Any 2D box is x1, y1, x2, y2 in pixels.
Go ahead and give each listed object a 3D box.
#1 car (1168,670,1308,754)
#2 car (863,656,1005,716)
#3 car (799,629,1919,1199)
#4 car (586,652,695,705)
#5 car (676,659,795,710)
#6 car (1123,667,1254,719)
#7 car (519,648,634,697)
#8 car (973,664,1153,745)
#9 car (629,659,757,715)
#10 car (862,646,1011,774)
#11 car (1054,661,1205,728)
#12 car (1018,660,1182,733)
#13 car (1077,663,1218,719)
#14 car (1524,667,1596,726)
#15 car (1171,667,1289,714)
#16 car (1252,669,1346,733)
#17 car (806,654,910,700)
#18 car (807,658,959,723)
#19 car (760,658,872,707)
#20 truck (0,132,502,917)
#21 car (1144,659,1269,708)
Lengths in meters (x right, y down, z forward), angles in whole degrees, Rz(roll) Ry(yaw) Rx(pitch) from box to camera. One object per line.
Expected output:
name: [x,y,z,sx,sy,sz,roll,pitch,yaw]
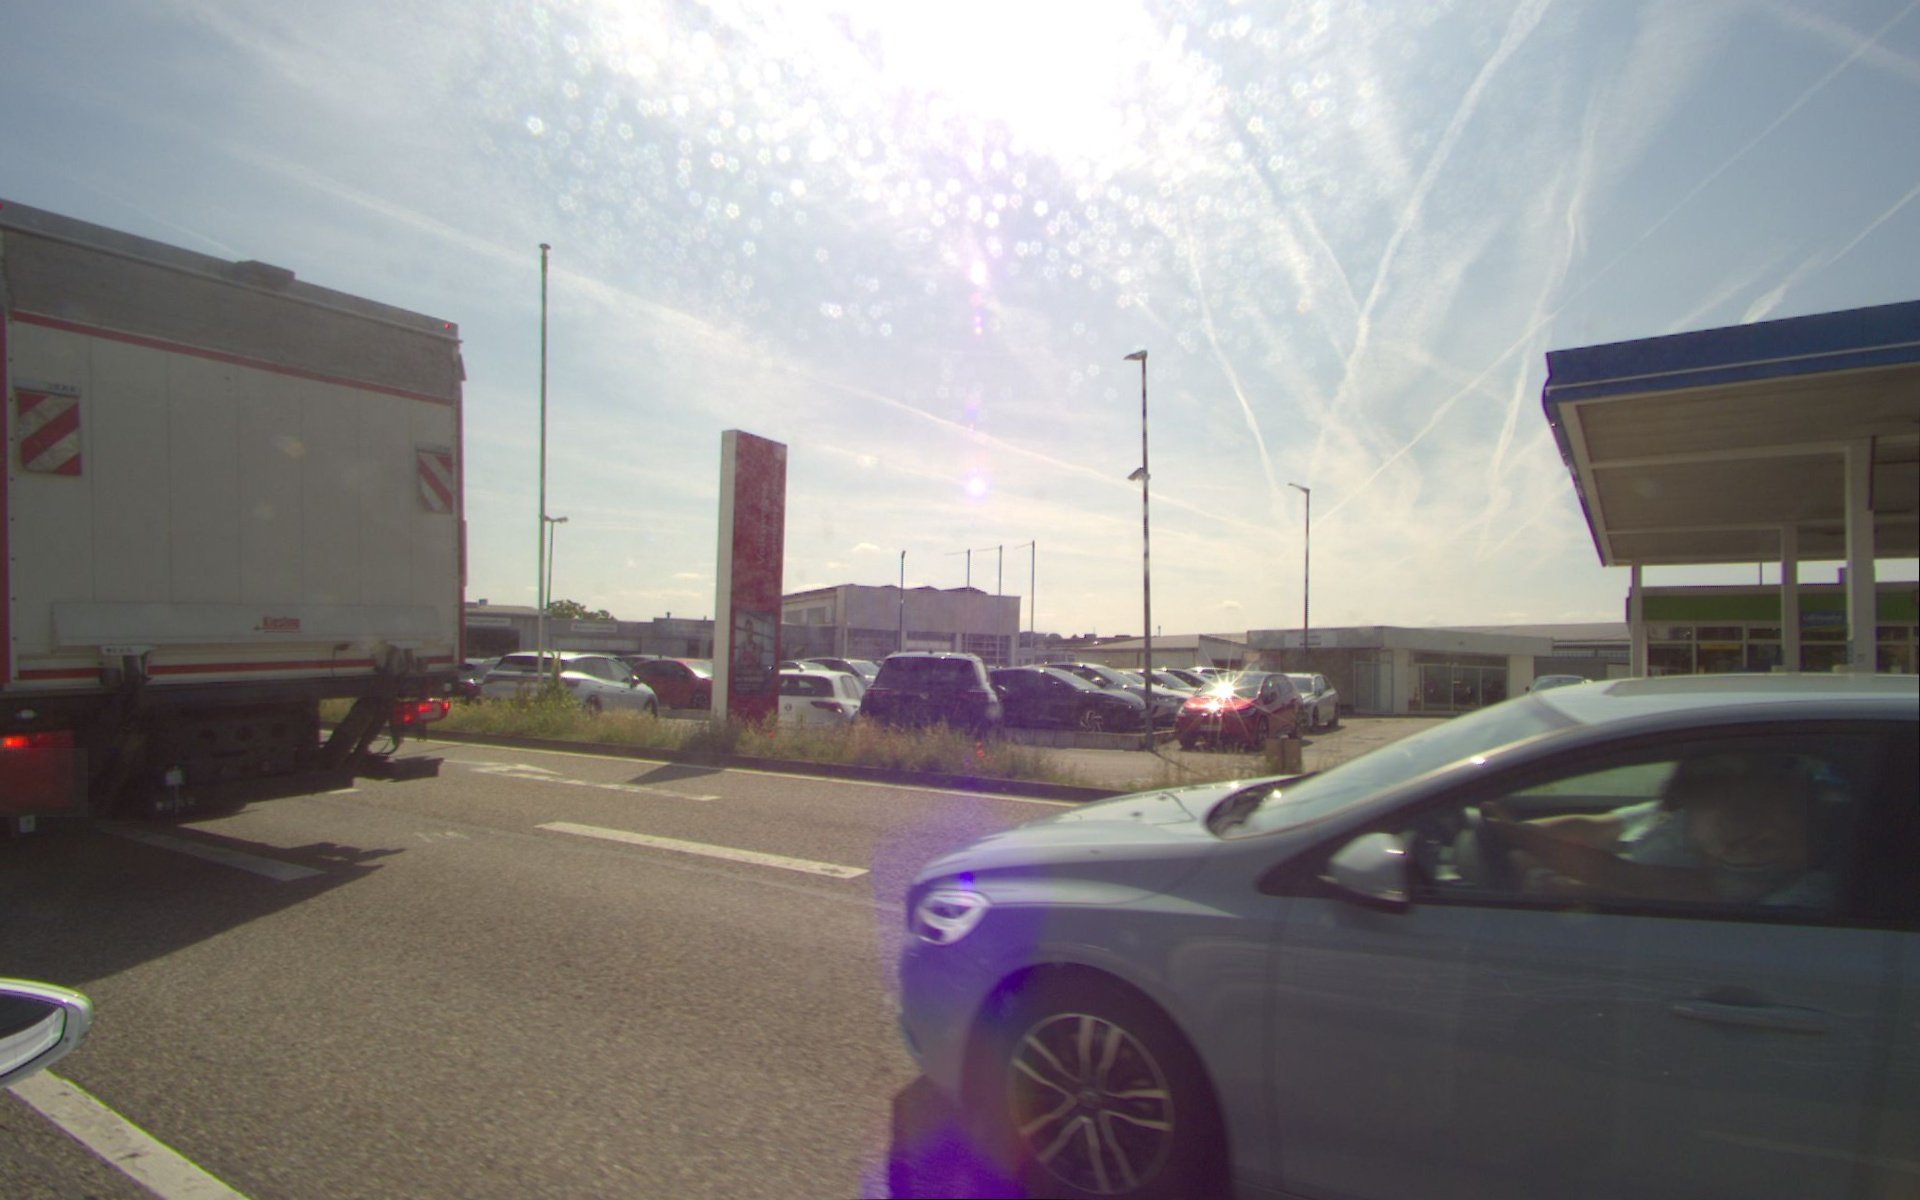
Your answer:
car: [6.143,2.348,21.836,1.782,1.591,3.896,-1,-3,34]
car: [-0.718,2.269,26.985,3.543,1.445,1.556,-1,-2,31]
car: [1.768,0.839,2.643,4.162,1.446,1.734,-1,-3,30]
car: [-10.809,2.619,33.852,3.542,1.628,1.556,-1,-2,30]
car: [-7.062,2.616,31.454,3.542,1.427,1.556,-1,-2,30]
car: [7.311,2.929,32.134,3.803,1.461,1.706,-1,-2,30]
car: [-12.131,2.252,31.636,3.542,1.427,1.556,-1,-2,30]
car: [2.346,2.342,23.019,3.803,1.615,1.612,-1,-2,30]
car: [-7.778,2.484,29.081,3.542,1.427,1.556,-1,-2,30]
car: [-0.192,1.371,13.555,1.533,1.427,3.596,0,-2,7]
car: [4.653,2.546,27.562,3.803,1.615,1.612,-1,-2,30]
car: [3.518,2.373,25.321,3.803,1.615,1.556,-1,-2,30]
car: [5.546,2.649,29.694,3.803,1.461,1.612,-1,-2,30]
car: [18.620,2.936,31.021,1.730,1.657,3.980,-1,-4,34]
car: [9.680,3.213,35.921,3.803,1.461,1.706,-1,-2,30]
car: [9.114,2.625,26.714,1.540,1.512,4.326,-1,-4,30]
car: [-3.629,2.677,35.323,3.645,1.427,1.552,-1,-2,40]
car: [-1.944,2.224,25.068,3.543,1.427,1.556,-1,-2,31]
car: [-4.782,2.691,33.158,3.546,1.427,1.555,-1,-2,34]
truck: [-8.805,-0.257,8.836,10.977,3.858,2.877,-1,-3,31]
car: [8.313,2.782,33.861,3.803,1.461,1.706,-1,-2,30]
